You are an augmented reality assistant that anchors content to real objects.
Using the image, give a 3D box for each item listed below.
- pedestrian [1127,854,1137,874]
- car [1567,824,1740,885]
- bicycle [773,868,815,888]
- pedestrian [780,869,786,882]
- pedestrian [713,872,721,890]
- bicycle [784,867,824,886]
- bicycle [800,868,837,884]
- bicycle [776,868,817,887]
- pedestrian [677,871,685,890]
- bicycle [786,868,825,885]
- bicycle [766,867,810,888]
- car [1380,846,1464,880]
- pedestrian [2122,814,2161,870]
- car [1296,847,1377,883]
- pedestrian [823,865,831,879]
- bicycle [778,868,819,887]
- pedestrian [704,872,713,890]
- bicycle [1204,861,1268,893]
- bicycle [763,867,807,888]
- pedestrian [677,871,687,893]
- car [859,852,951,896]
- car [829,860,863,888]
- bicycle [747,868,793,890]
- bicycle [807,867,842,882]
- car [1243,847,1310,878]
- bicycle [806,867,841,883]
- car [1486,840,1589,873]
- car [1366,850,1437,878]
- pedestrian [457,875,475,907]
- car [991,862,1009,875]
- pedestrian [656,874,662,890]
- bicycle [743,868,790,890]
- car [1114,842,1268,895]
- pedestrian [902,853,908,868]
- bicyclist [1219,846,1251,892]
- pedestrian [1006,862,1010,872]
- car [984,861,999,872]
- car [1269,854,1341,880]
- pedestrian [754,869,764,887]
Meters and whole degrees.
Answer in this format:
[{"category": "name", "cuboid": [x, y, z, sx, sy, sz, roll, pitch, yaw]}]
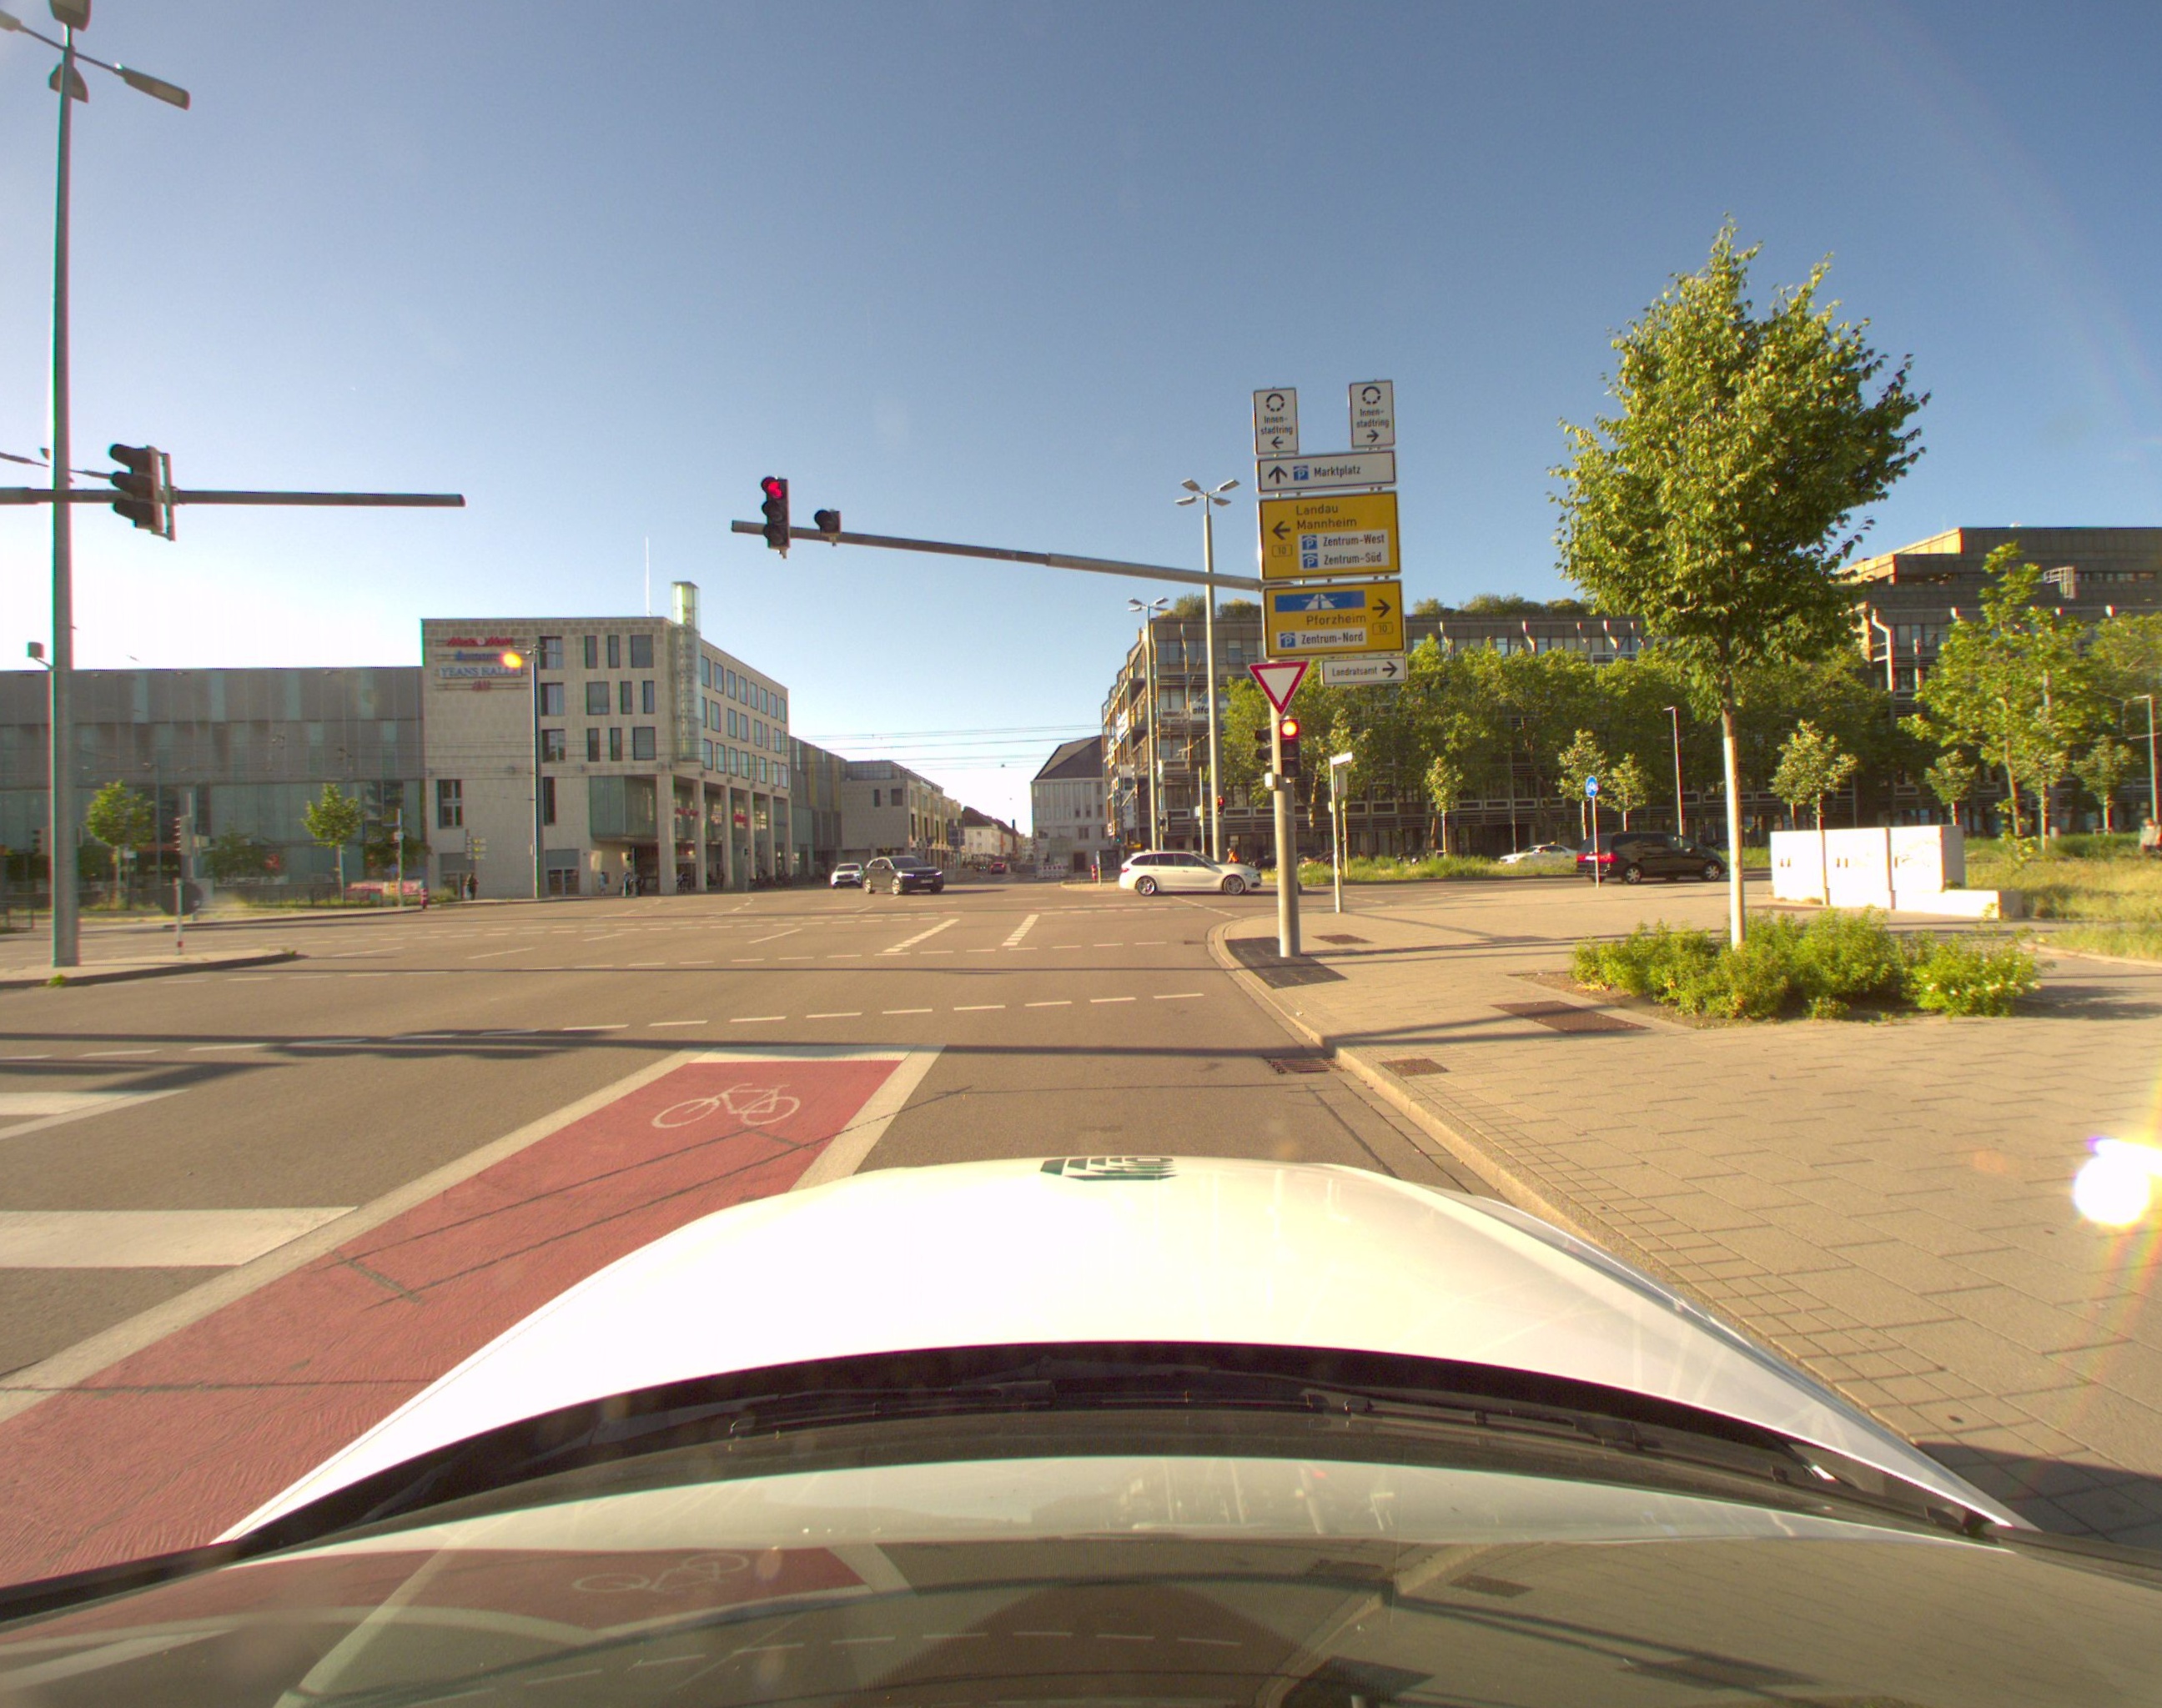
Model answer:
[{"category": "pedestrian", "cuboid": [4.284, 0.829, 68.334, 0.661, 1.658, 0.755, -2, 0, -1]}, {"category": "car", "cuboid": [18.852, -0.026, 26.919, 4.466, 1.758, 1.996, -2, 2, -6]}, {"category": "bicycle", "cuboid": [-26.677, 2.183, 75.767, 3.491, 1.696, 0.984, -2, 0, -10]}, {"category": "pedestrian", "cuboid": [-33.230, 2.409, 90.788, 0.640, 1.435, 0.472, -2, 0, -21]}, {"category": "pedestrian", "cuboid": [-32.034, 2.393, 71.694, 0.480, 1.510, 0.513, -2, 0, -3]}, {"category": "bicycle", "cuboid": [-27.245, 2.236, 80.169, 3.491, 1.696, 0.984, -2, 0, -10]}, {"category": "bicycle", "cuboid": [-27.545, 2.293, 85.587, 3.491, 1.527, 0.984, -2, 0, -10]}, {"category": "bicycle", "cuboid": [-26.853, 2.201, 76.864, 3.491, 1.696, 0.984, -2, 0, -10]}, {"category": "pedestrian", "cuboid": [-33.227, 2.183, 67.665, 0.428, 1.585, 0.498, -2, 0, -3]}, {"category": "bicycle", "cuboid": [-27.406, 2.229, 81.166, 3.491, 1.527, 0.984, -2, 0, -10]}, {"category": "bicycle", "cuboid": [-26.317, 2.117, 73.181, 3.488, 1.696, 1.114, -2, 0, -7]}, {"category": "car", "cuboid": [21.407, 0.562, 51.250, 4.435, 2.014, 1.998, 0, -1, -4]}, {"category": "pedestrian", "cuboid": [31.962, -0.365, 24.224, 0.801, 1.630, 0.939, -2, 0, -12]}, {"category": "car", "cuboid": [14.455, 0.620, 46.212, 3.975, 2.014, 1.999, 0, -1, -1]}, {"category": "pedestrian", "cuboid": [-29.954, 2.161, 96.081, 0.652, 1.642, 0.693, -2, 0, -7]}, {"category": "bicycle", "cuboid": [-27.041, 2.213, 78.072, 3.491, 1.696, 0.984, -2, 0, -10]}, {"category": "pedestrian", "cuboid": [-32.468, 2.377, 71.052, 0.510, 1.510, 0.513, -2, 0, -3]}, {"category": "bicycle", "cuboid": [8.928, 1.316, 47.070, 3.488, 1.659, 0.929, -2, 0, -7]}, {"category": "bicycle", "cuboid": [-26.141, 2.072, 71.960, 3.488, 1.696, 1.114, -2, 0, -7]}, {"category": "pedestrian", "cuboid": [-30.375, 2.153, 61.988, 0.542, 1.642, 0.547, -2, 0, -18]}, {"category": "car", "cuboid": [-7.255, 0.752, 33.197, 2.008, 1.601, 4.902, -2, 1, -33]}, {"category": "car", "cuboid": [-15.081, 1.260, 52.139, 1.999, 1.660, 4.380, -2, 0, -17]}, {"category": "bicycle", "cuboid": [-26.909, 2.159, 70.527, 3.488, 1.696, 1.114, -2, 0, -7]}, {"category": "bicycle", "cuboid": [-27.919, 2.214, 88.585, 3.491, 1.527, 0.984, -2, 0, -10]}, {"category": "car", "cuboid": [12.842, 0.561, 53.627, 3.975, 2.014, 1.999, 0, -1, -1]}, {"category": "bicycle", "cuboid": [-27.650, 2.214, 87.456, 3.491, 1.527, 0.984, -2, 0, -10]}, {"category": "car", "cuboid": [28.895, 0.145, 51.656, 5.424, 2.014, 2.097, 0, -1, -1]}, {"category": "car", "cuboid": [21.406, 0.665, 54.563, 3.976, 1.750, 1.998, 0, -1, -2]}, {"category": "pedestrian", "cuboid": [-32.694, 1.957, 43.286, 0.524, 1.694, 0.548, -2, 0, 0]}, {"category": "car", "cuboid": [-10.786, 1.886, 108.866, 2.195, 1.607, 4.320, -2, 0, -4]}, {"category": "pedestrian", "cuboid": [-38.067, 2.552, 73.467, 0.388, 1.412, 0.434, -2, 0, -24]}, {"category": "bicycle", "cuboid": [-26.729, 2.098, 69.299, 3.488, 1.696, 1.114, -2, 0, -7]}, {"category": "car", "cuboid": [3.630, 0.477, 26.736, 4.649, 1.528, 2.009, -2, 0, 17]}, {"category": "pedestrian", "cuboid": [-25.331, 0.940, 116.986, 0.623, 2.013, 0.734, -2, 0, 4]}, {"category": "bicyclist", "cuboid": [8.887, 0.856, 47.074, 1.566, 2.580, 0.929, -2, 0, -7]}, {"category": "pedestrian", "cuboid": [-9.765, 1.753, 108.943, 0.608, 1.411, 0.569, -2, 0, -5]}, {"category": "car", "cuboid": [-14.704, 2.033, 133.808, 1.988, 1.660, 4.402, -3, -1, -2]}, {"category": "car", "cuboid": [13.854, 0.783, 50.478, 3.976, 1.508, 1.867, -1, 0, -2]}, {"category": "pedestrian", "cuboid": [-30.315, 2.276, 76.678, 0.785, 1.642, 0.692, -2, 0, -13]}]
